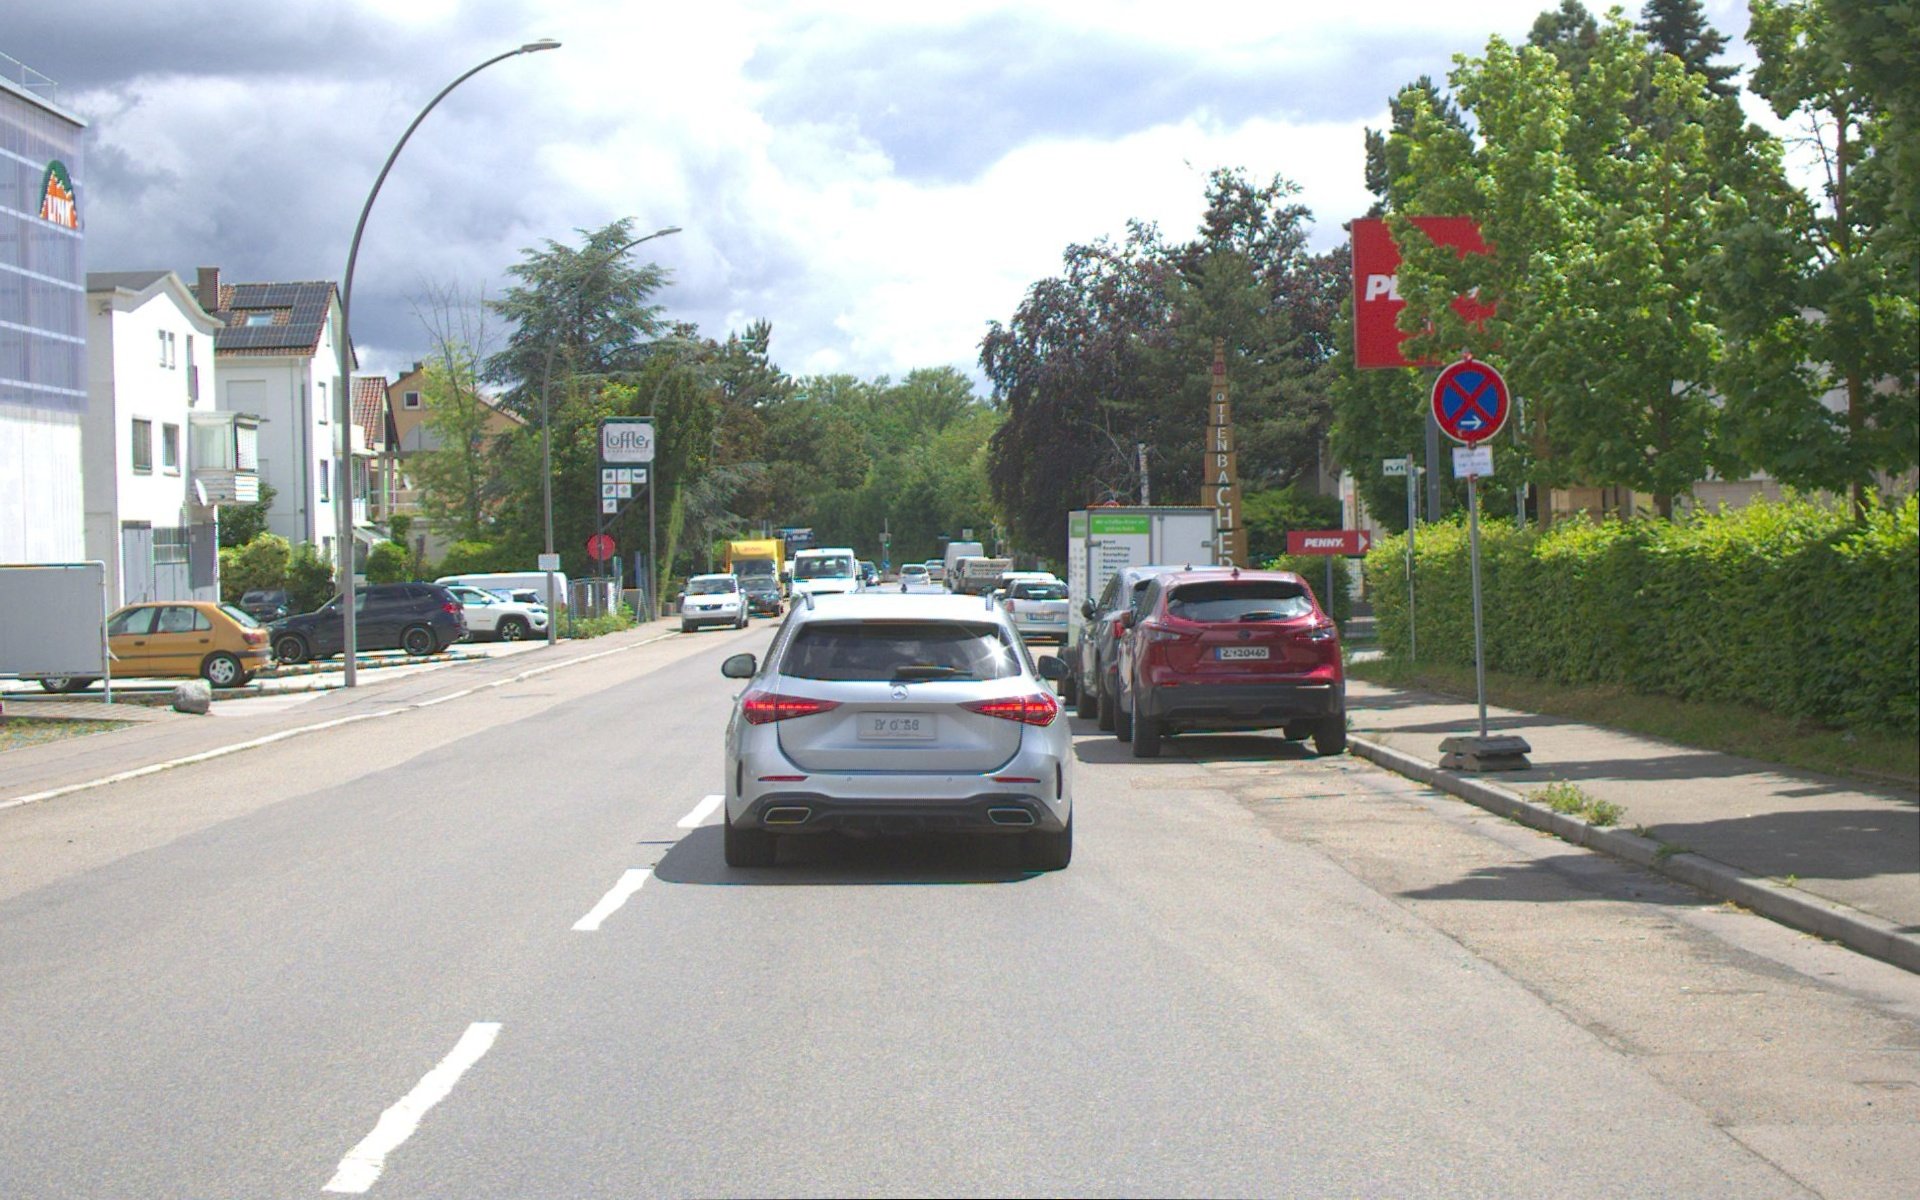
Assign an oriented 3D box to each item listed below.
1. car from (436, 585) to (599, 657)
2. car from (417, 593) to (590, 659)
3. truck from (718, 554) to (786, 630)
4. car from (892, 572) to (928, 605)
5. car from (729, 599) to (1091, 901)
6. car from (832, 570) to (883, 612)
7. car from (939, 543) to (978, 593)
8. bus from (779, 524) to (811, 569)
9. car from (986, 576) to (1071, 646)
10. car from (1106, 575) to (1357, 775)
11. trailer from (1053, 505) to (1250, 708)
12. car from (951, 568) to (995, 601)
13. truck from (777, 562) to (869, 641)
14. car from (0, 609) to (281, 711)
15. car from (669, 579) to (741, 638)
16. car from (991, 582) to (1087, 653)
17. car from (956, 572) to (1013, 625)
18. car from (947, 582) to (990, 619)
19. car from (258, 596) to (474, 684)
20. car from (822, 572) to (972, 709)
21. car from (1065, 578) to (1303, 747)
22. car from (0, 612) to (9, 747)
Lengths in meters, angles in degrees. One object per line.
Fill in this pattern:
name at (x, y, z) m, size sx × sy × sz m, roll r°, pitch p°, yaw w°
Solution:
car at (-12.324, 0.589, 95.892) m, size 4.279 × 1.830 × 1.991 m, roll -1°, pitch -2°, yaw -2°
car at (-12.025, 0.688, 90.684) m, size 4.279 × 1.561 × 1.991 m, roll -1°, pitch -2°, yaw 0°
truck at (-8.130, -0.350, 134.924) m, size 2.075 × 2.804 × 7.078 m, roll -2°, pitch 1°, yaw 0°
car at (-2.482, -0.563, 169.940) m, size 1.755 × 1.553 × 4.000 m, roll -1°, pitch 1°, yaw -1°
car at (-0.342, 0.739, 19.120) m, size 1.784 × 1.479 × 4.317 m, roll 0°, pitch 0°, yaw -3°
car at (-4.499, -0.425, 151.918) m, size 1.993 × 1.727 × 4.548 m, roll -2°, pitch 1°, yaw 1°
car at (-0.110, -1.594, 173.899) m, size 1.784 × 2.510 × 4.317 m, roll 0°, pitch 0°, yaw -3°
bus at (-12.552, -4.049, 261.097) m, size 1.993 × 3.353 × 6.984 m, roll 1°, pitch 1°, yaw -6°
car at (1.632, 0.248, 83.388) m, size 1.791 × 1.546 × 4.574 m, roll -2°, pitch 1°, yaw -1°
car at (2.348, 0.610, 30.756) m, size 1.941 × 1.566 × 4.445 m, roll -2°, pitch 1°, yaw 1°
trailer at (2.269, 0.054, 41.843) m, size 1.941 × 2.286 × 4.446 m, roll -2°, pitch 1°, yaw -2°
car at (0.584, -0.716, 155.568) m, size 1.784 × 1.479 × 4.317 m, roll 0°, pitch 0°, yaw -3°
truck at (-4.068, 0.005, 103.316) m, size 2.319 × 2.171 × 6.449 m, roll -2°, pitch 1°, yaw 1°
car at (-13.069, 0.944, 54.893) m, size 4.149 × 1.486 × 1.826 m, roll 1°, pitch 1°, yaw -4°
car at (-7.484, 0.237, 101.132) m, size 1.791 × 1.598 × 4.364 m, roll -2°, pitch 1°, yaw -1°
car at (1.752, 0.379, 77.623) m, size 1.791 × 1.445 × 4.364 m, roll -2°, pitch 1°, yaw -3°
car at (0.961, -0.070, 136.518) m, size 2.144 × 1.977 × 5.261 m, roll -1°, pitch 1°, yaw 0°
car at (0.391, 0.000, 161.762) m, size 1.784 × 1.709 × 4.317 m, roll 0°, pitch 0°, yaw -3°
car at (-13.727, 0.915, 79.705) m, size 4.626 × 1.627 × 2.198 m, roll -4°, pitch 1°, yaw -4°
car at (-0.791, 0.464, 42.710) m, size 1.755 × 1.553 × 4.000 m, roll -1°, pitch 1°, yaw -1°
car at (2.264, 0.598, 35.873) m, size 1.941 × 1.566 × 4.446 m, roll -2°, pitch 1°, yaw -3°
car at (-12.708, 0.943, 38.280) m, size 3.628 × 1.527 × 1.979 m, roll -1°, pitch 1°, yaw 2°
